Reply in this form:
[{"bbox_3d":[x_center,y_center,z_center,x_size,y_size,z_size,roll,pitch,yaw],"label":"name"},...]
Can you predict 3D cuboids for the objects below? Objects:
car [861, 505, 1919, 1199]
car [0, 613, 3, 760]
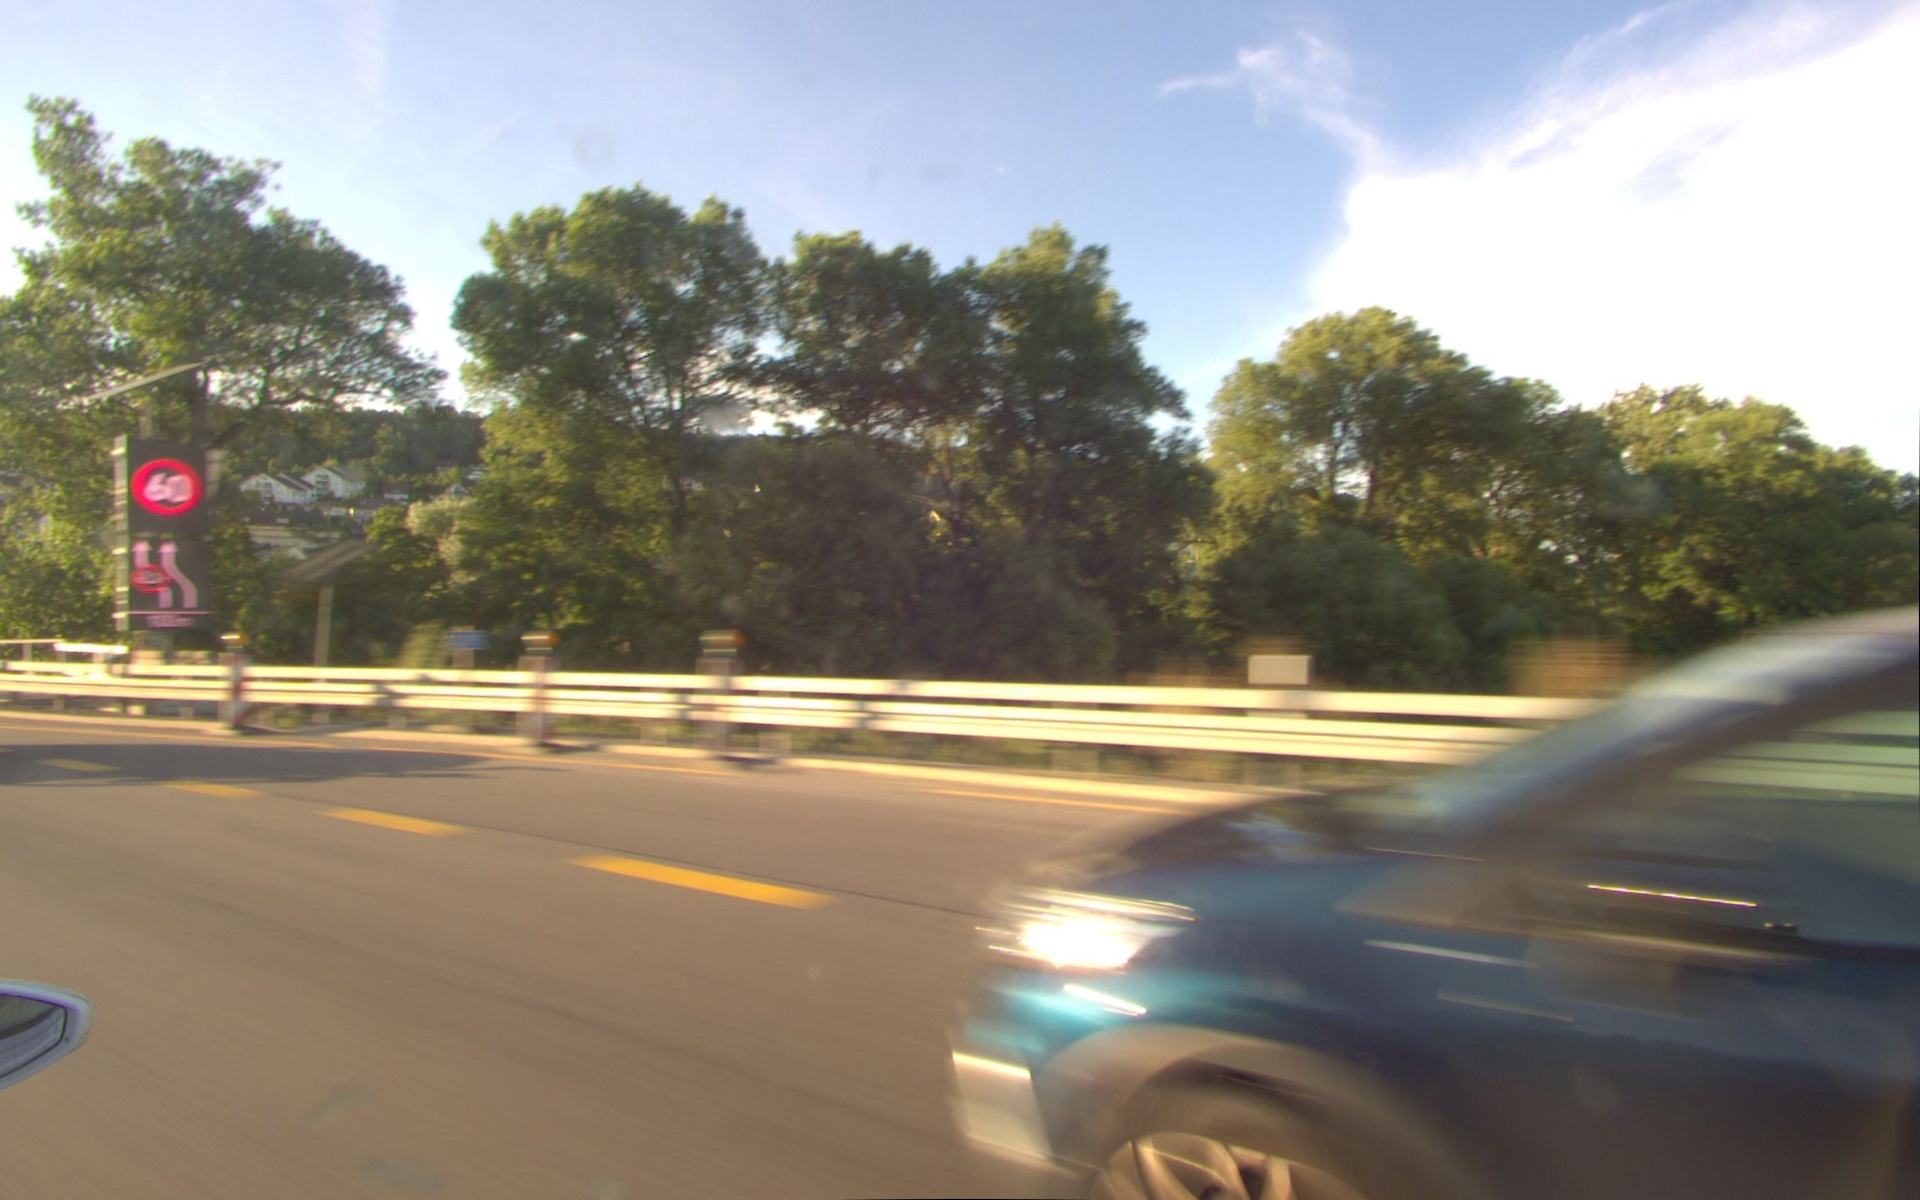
[{"bbox_3d":[1.965,0.704,1.902,4.076,1.606,1.771,0,-1,33],"label":"car"},{"bbox_3d":[-13.101,0.985,11.595,4.896,1.620,1.871,-1,-1,33],"label":"car"}]
